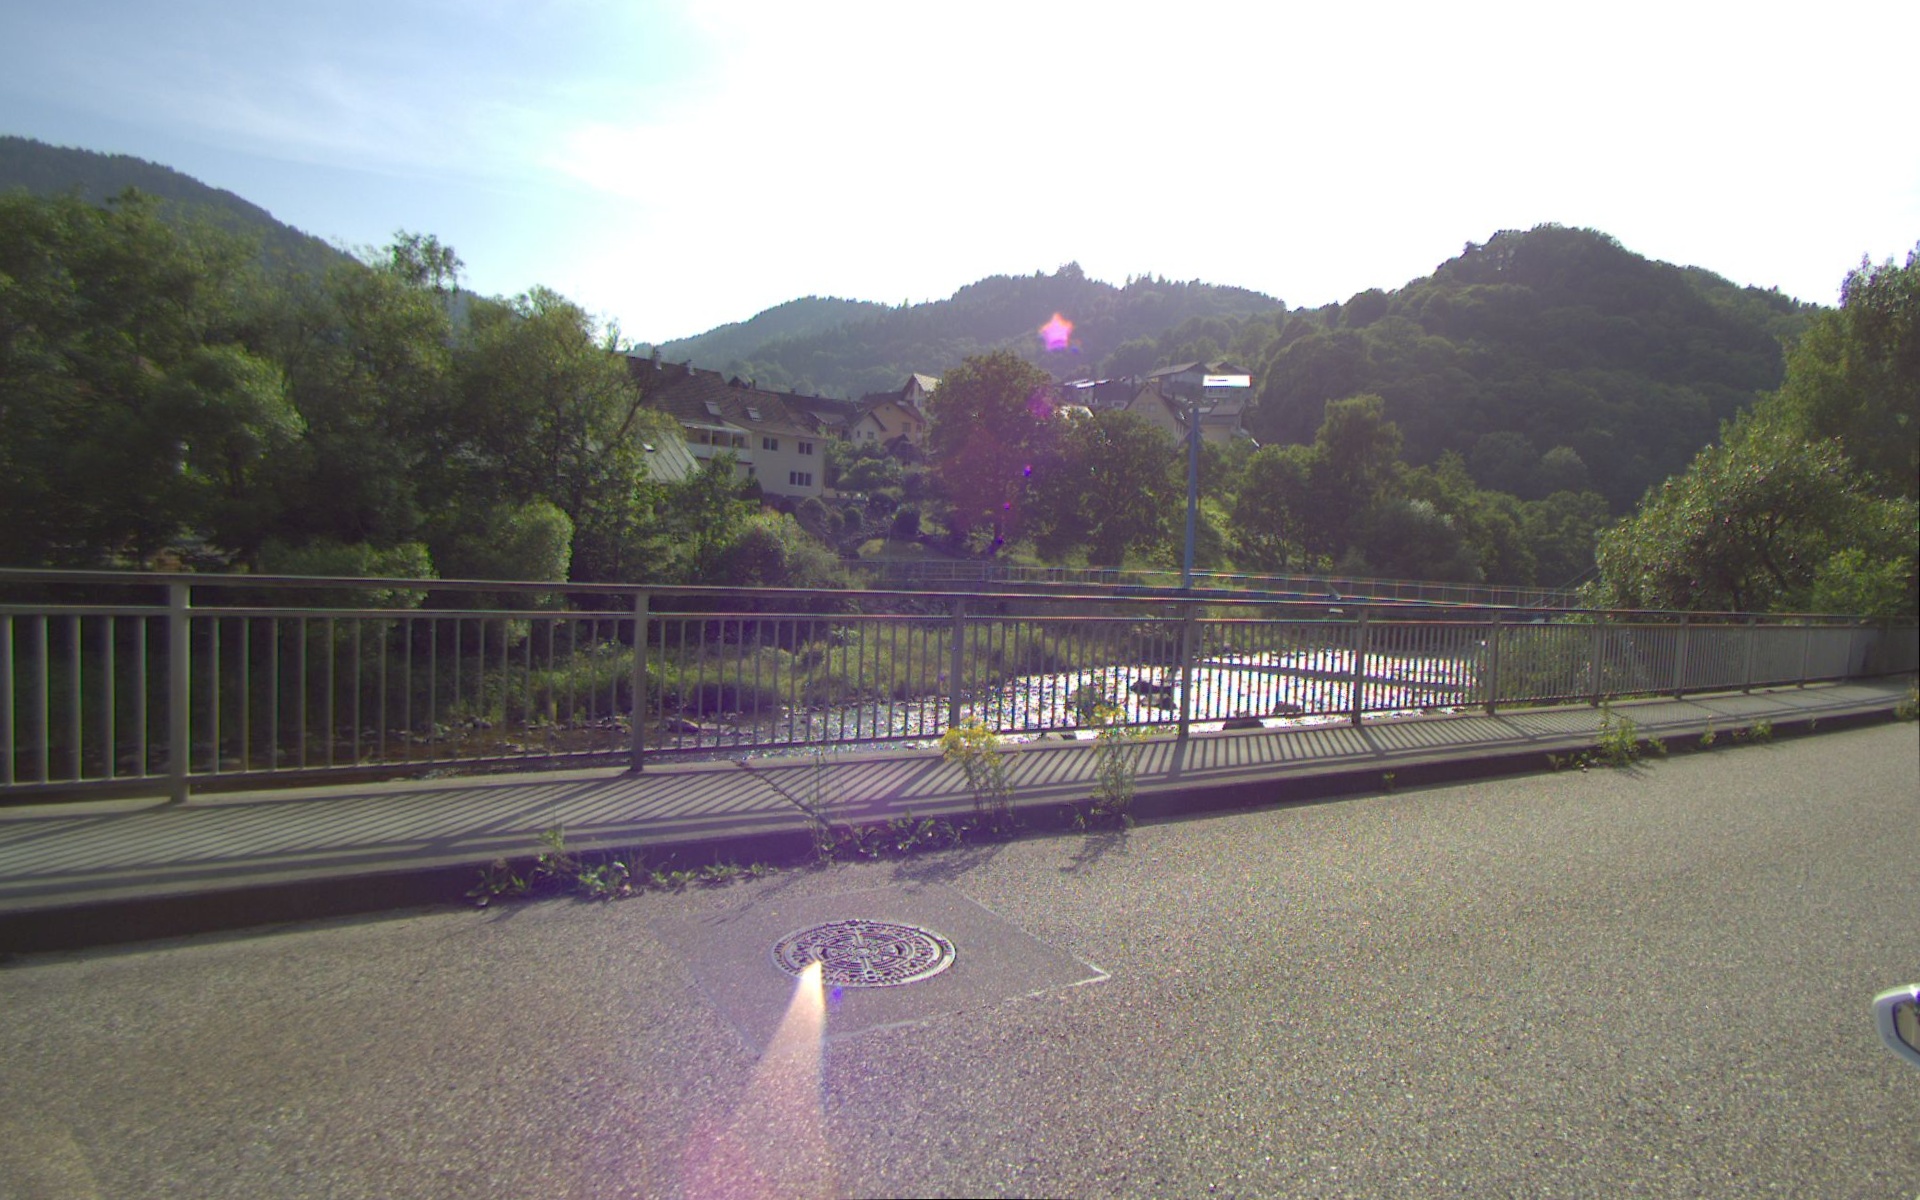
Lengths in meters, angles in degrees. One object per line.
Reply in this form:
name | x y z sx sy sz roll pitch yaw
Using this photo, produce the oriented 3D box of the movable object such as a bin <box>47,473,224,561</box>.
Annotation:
movable object such as a bin | -44.122 -4.421 53.769 8.007 3.257 3.550 11 5 19
